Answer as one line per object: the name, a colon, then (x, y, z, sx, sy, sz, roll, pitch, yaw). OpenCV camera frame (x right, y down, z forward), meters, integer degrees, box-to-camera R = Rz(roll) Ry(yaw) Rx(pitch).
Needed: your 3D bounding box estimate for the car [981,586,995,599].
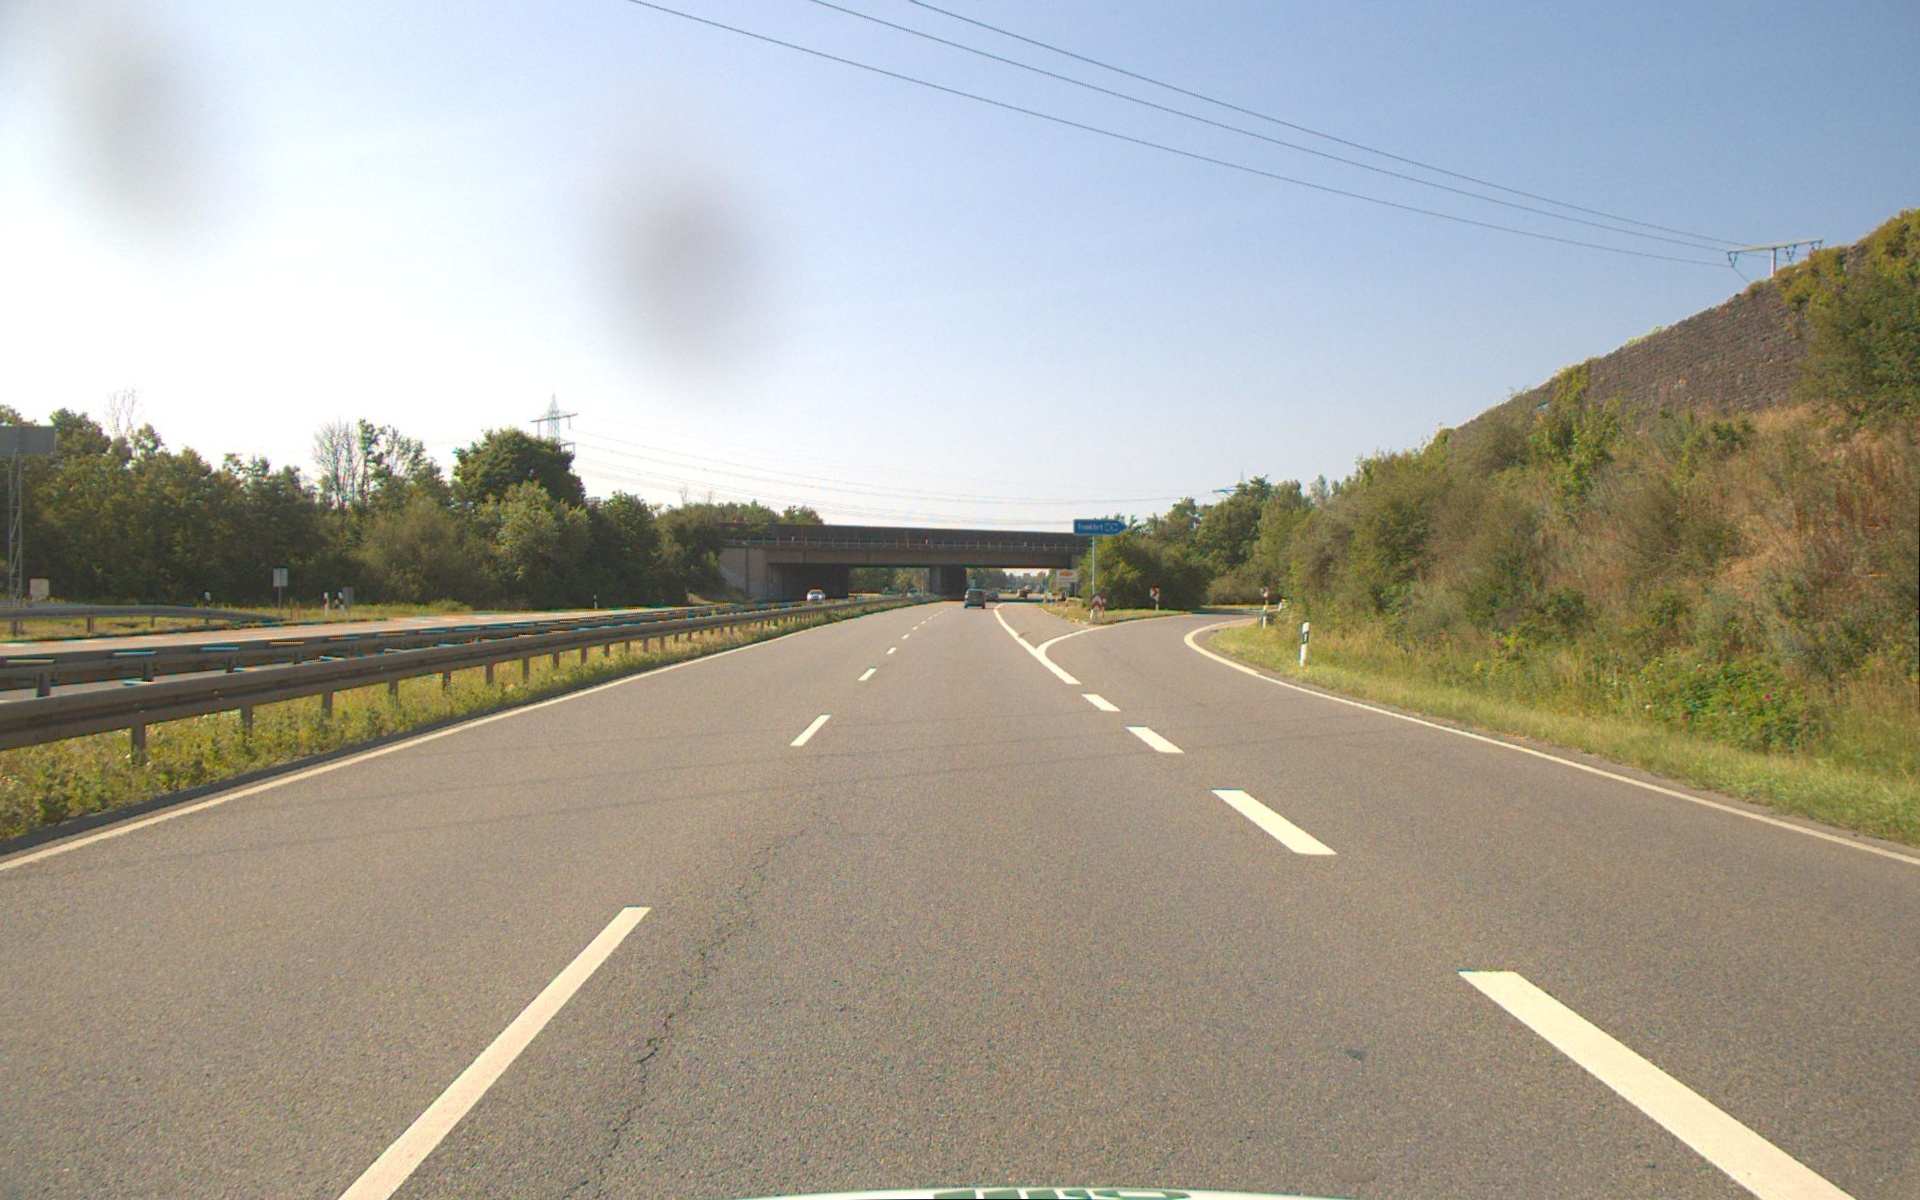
car: (3.517, -0.961, 207.160, 1.811, 1.673, 4.001, 1, 0, 1)

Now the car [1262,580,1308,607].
car: (22.203, -0.409, 112.876, 1.764, 1.694, 3.990, 3, 1, 32)

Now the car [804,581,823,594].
car: (-16.029, -1.367, 181.333, 1.640, 1.434, 3.763, 1, 1, 1)

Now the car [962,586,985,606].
car: (1.171, -0.353, 141.727, 1.811, 1.673, 4.001, 1, 0, 1)
